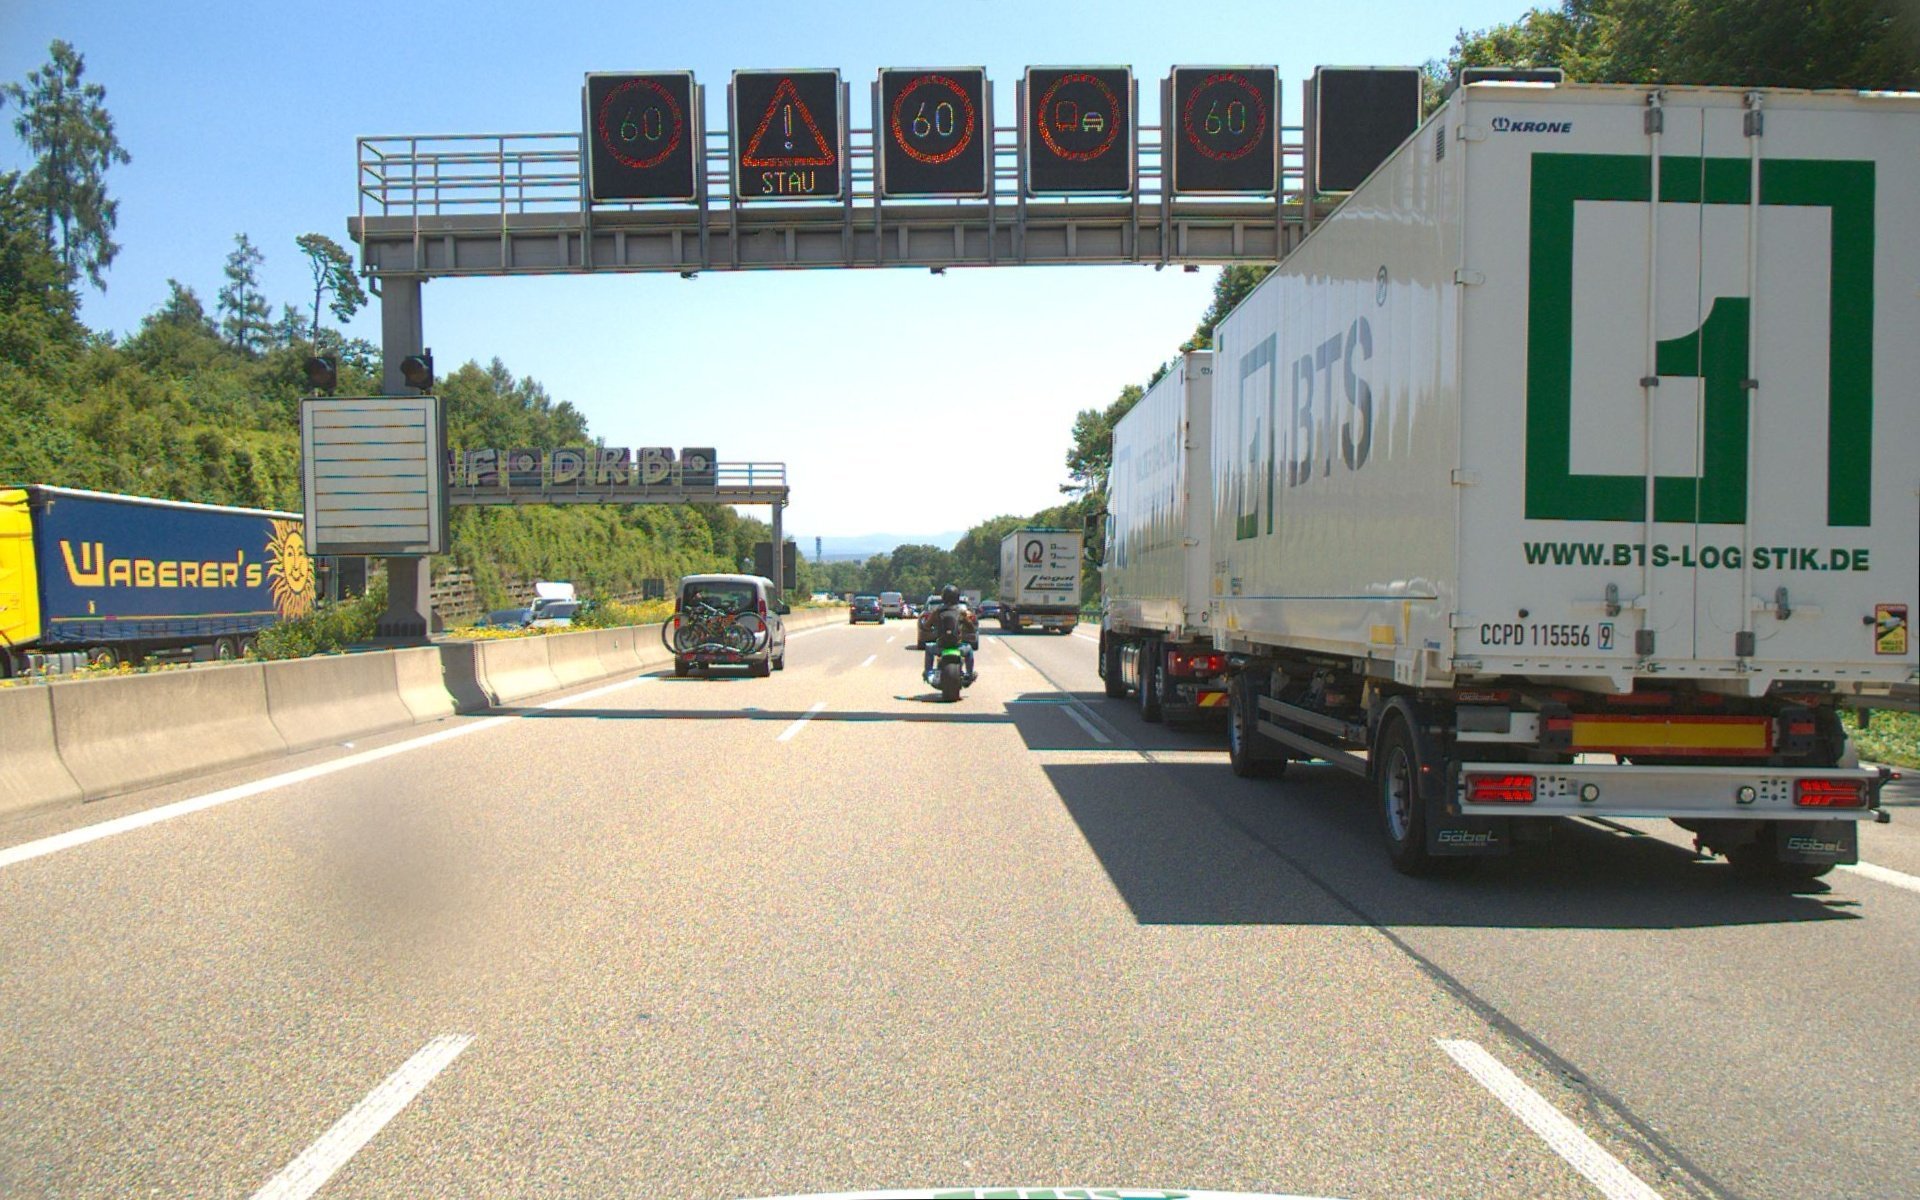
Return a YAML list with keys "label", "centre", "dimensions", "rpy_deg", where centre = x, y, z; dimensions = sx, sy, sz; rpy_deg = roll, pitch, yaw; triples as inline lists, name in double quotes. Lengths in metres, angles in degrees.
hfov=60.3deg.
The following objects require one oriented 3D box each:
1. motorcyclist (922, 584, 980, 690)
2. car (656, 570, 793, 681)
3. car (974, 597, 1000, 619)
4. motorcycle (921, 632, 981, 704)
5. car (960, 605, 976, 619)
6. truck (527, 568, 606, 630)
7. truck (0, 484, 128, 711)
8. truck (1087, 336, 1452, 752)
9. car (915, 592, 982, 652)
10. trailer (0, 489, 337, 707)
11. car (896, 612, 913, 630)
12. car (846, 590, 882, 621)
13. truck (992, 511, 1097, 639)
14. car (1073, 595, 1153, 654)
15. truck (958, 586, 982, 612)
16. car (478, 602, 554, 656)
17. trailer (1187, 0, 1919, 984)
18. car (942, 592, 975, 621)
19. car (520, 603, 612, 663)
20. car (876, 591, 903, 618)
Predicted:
- label: "motorcyclist"
  centre: [-0.128, 0.544, 24.514]
  dimensions: [0.838, 1.541, 0.914]
  rpy_deg: [0, -1, 0]
- label: "car"
  centre: [-4.320, 0.457, 31.127]
  dimensions: [1.859, 1.880, 5.481]
  rpy_deg: [1, 0, -1]
- label: "car"
  centre: [2.004, 0.561, 122.740]
  dimensions: [1.794, 1.553, 4.026]
  rpy_deg: [1, 1, -1]
- label: "motorcycle"
  centre: [-0.125, 0.985, 24.559]
  dimensions: [0.844, 0.999, 2.130]
  rpy_deg: [0, 0, 0]
- label: "car"
  centre: [0.990, 1.465, 204.426]
  dimensions: [1.794, 1.553, 4.026]
  rpy_deg: [1, 1, -1]
- label: "truck"
  centre: [-20.621, -0.094, 87.060]
  dimensions: [2.527, 3.045, 7.061]
  rpy_deg: [-1, 1, -1]
- label: "truck"
  centre: [-19.531, -0.005, 32.501]
  dimensions: [2.890, 4.275, 6.458]
  rpy_deg: [-2, 0, 1]
- label: "truck"
  centre: [3.507, -0.579, 21.836]
  dimensions: [2.625, 4.130, 10.623]
  rpy_deg: [1, 0, -1]
- label: "car"
  centre: [-0.352, 0.596, 47.636]
  dimensions: [1.808, 1.584, 4.438]
  rpy_deg: [1, 1, -1]
- label: "trailer"
  centre: [-19.426, -0.028, 40.002]
  dimensions: [2.917, 4.280, 14.466]
  rpy_deg: [-2, 0, 1]
- label: "car"
  centre: [-6.095, 2.251, 181.566]
  dimensions: [1.794, 1.842, 4.119]
  rpy_deg: [1, 1, -1]
- label: "car"
  centre: [-5.132, 0.279, 88.476]
  dimensions: [1.722, 1.571, 4.394]
  rpy_deg: [1, 1, -1]
- label: "truck"
  centre: [3.379, -0.983, 71.991]
  dimensions: [3.314, 4.800, 17.705]
  rpy_deg: [2, 0, -1]
- label: "car"
  centre: [4.376, 0.673, 47.855]
  dimensions: [1.808, 1.584, 4.391]
  rpy_deg: [1, 1, -1]
- label: "truck"
  centre: [1.316, -0.153, 227.721]
  dimensions: [3.005, 3.405, 9.650]
  rpy_deg: [2, 0, -1]
- label: "car"
  centre: [-14.143, 0.897, 52.821]
  dimensions: [1.485, 1.562, 3.549]
  rpy_deg: [-1, 1, -1]
- label: "trailer"
  centre: [3.686, -0.650, 11.464]
  dimensions: [2.625, 4.249, 10.063]
  rpy_deg: [1, 0, -1]
- label: "car"
  centre: [-0.088, 0.353, 95.180]
  dimensions: [1.794, 1.585, 4.119]
  rpy_deg: [1, 1, -1]
- label: "car"
  centre: [-11.735, 0.948, 49.499]
  dimensions: [1.806, 1.633, 4.116]
  rpy_deg: [-1, 1, -1]
- label: "car"
  centre: [-5.074, 0.316, 119.367]
  dimensions: [1.794, 1.842, 4.119]
  rpy_deg: [1, 1, -1]
